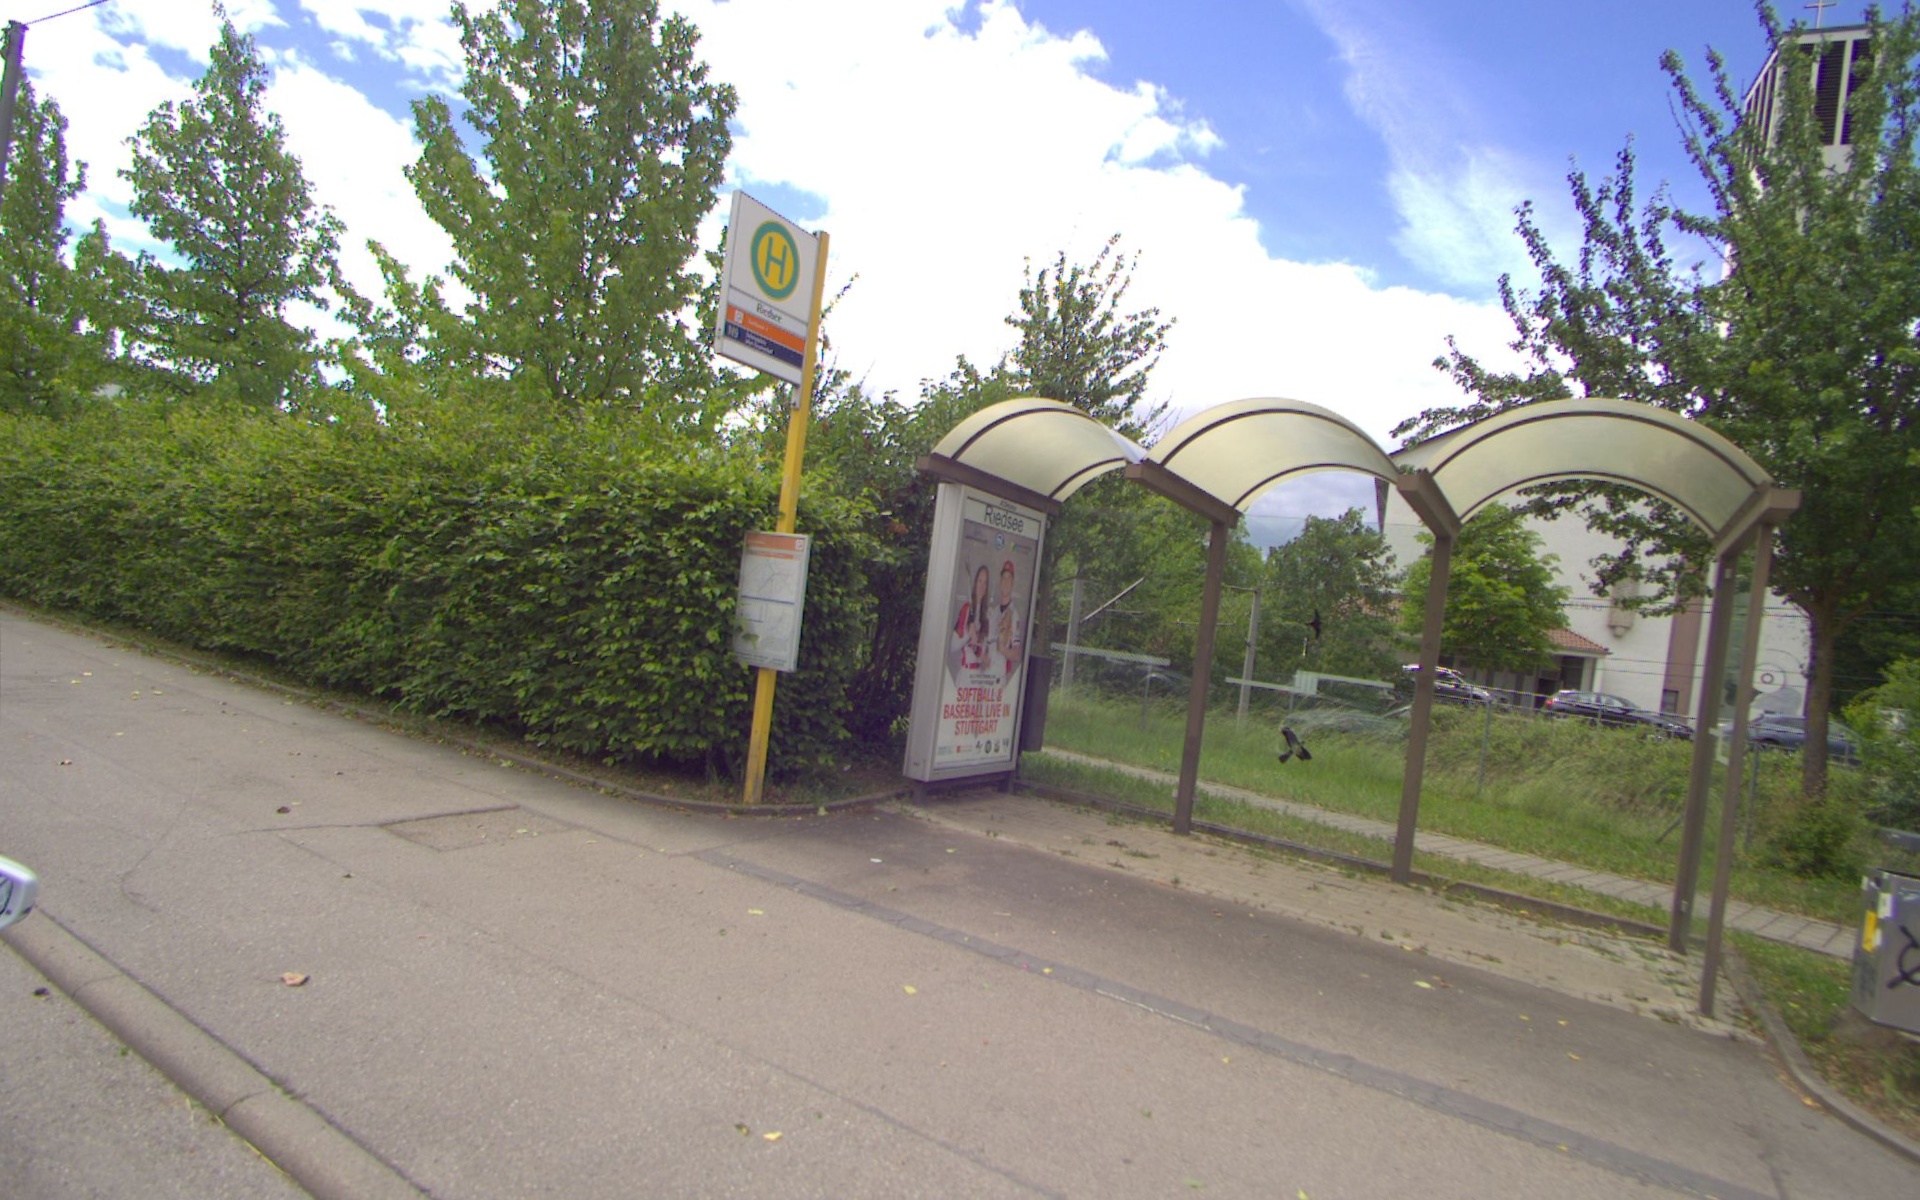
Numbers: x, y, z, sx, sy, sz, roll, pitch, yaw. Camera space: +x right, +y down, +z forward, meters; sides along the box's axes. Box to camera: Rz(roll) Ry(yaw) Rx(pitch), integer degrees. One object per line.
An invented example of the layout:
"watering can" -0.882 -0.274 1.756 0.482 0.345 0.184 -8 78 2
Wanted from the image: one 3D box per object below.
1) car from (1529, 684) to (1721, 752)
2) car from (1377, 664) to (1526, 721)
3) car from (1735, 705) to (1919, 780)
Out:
"car" 21.496 3.779 32.666 1.986 1.349 4.767 7 0 -41
"car" 17.973 3.363 36.960 1.985 1.349 4.428 7 0 -39
"car" 24.784 4.007 28.604 1.986 1.349 3.953 7 0 -41
